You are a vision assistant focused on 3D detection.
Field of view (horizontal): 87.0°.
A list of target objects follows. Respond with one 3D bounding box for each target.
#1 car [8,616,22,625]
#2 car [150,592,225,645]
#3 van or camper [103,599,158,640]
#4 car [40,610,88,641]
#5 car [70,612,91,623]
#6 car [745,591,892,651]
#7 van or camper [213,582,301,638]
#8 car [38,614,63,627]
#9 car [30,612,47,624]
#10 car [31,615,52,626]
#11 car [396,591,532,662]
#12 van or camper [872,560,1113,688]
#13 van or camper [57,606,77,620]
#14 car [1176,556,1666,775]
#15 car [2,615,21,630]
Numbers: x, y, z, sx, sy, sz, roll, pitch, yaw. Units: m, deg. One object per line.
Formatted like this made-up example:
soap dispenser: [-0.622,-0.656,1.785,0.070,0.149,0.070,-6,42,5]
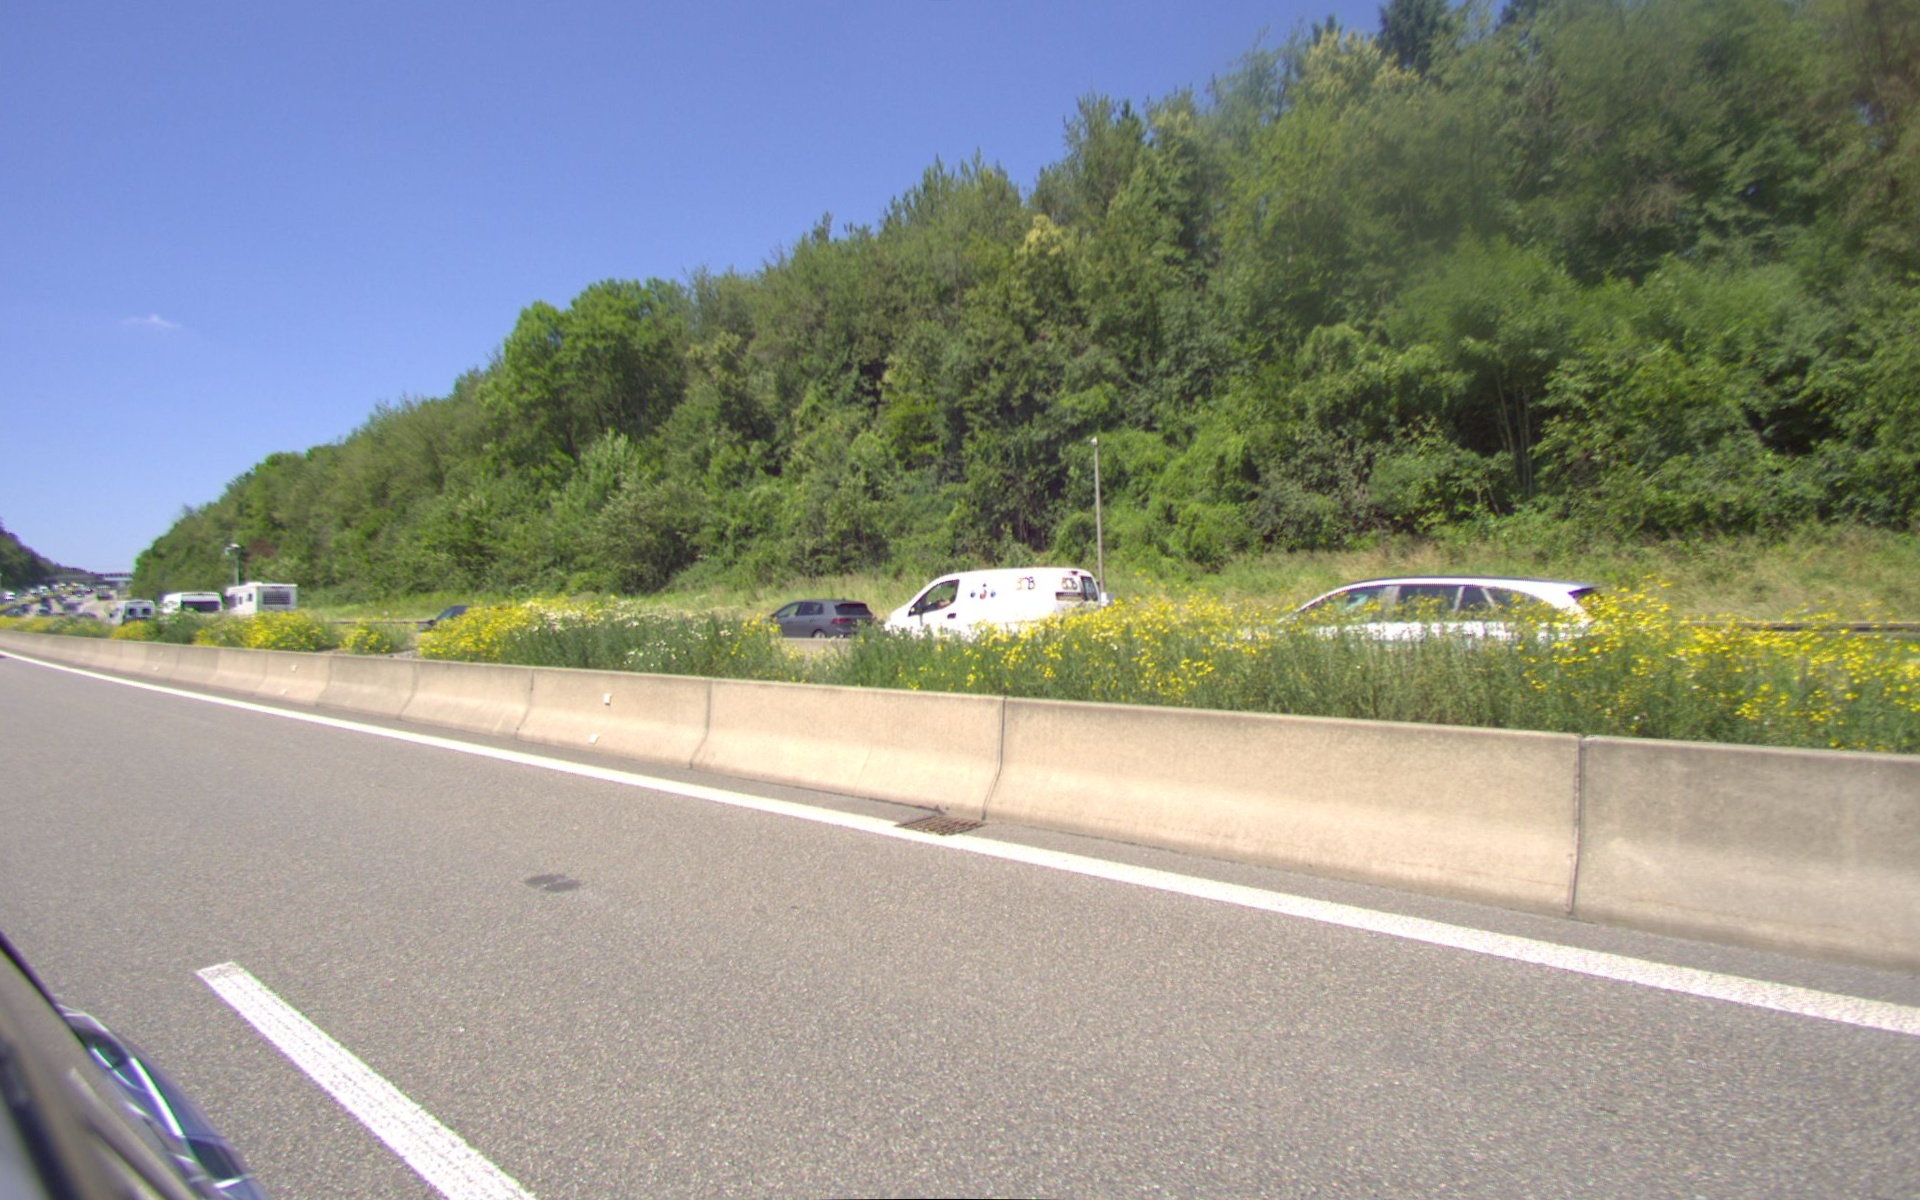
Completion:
car: [-156.931,3.390,168.013,3.564,1.453,1.461,-1,0,43]
car: [-42.534,1.009,55.649,5.743,2.762,2.177,-1,-1,41]
van or camper: [-62.149,1.469,75.785,6.555,2.921,2.234,-1,-1,42]
car: [-58.576,1.645,66.141,4.000,1.940,1.972,-1,0,43]
car: [-120.711,2.406,138.928,4.000,1.467,1.769,0,0,43]
car: [-3.864,0.520,27.340,3.998,1.502,1.757,0,0,41]
van or camper: [-44.652,0.593,64.123,8.999,3.342,2.513,0,0,41]
car: [-114.946,2.580,127.838,4.273,1.599,1.972,-1,0,43]
car: [-160.304,3.072,176.029,4.570,2.029,1.971,0,0,45]
car: [-138.002,3.096,152.060,4.162,1.602,1.972,0,0,42]
car: [-12.698,0.614,25.826,4.079,1.677,1.689,0,0,41]
van or camper: [0.487,0.402,18.086,4.211,2.028,1.674,-1,0,41]
van or camper: [-163.228,2.371,185.026,6.934,2.579,2.162,0,0,44]
car: [4.054,0.459,9.220,3.683,1.576,1.858,0,0,44]
car: [-141.485,3.331,150.912,4.002,2.029,1.971,0,0,45]
